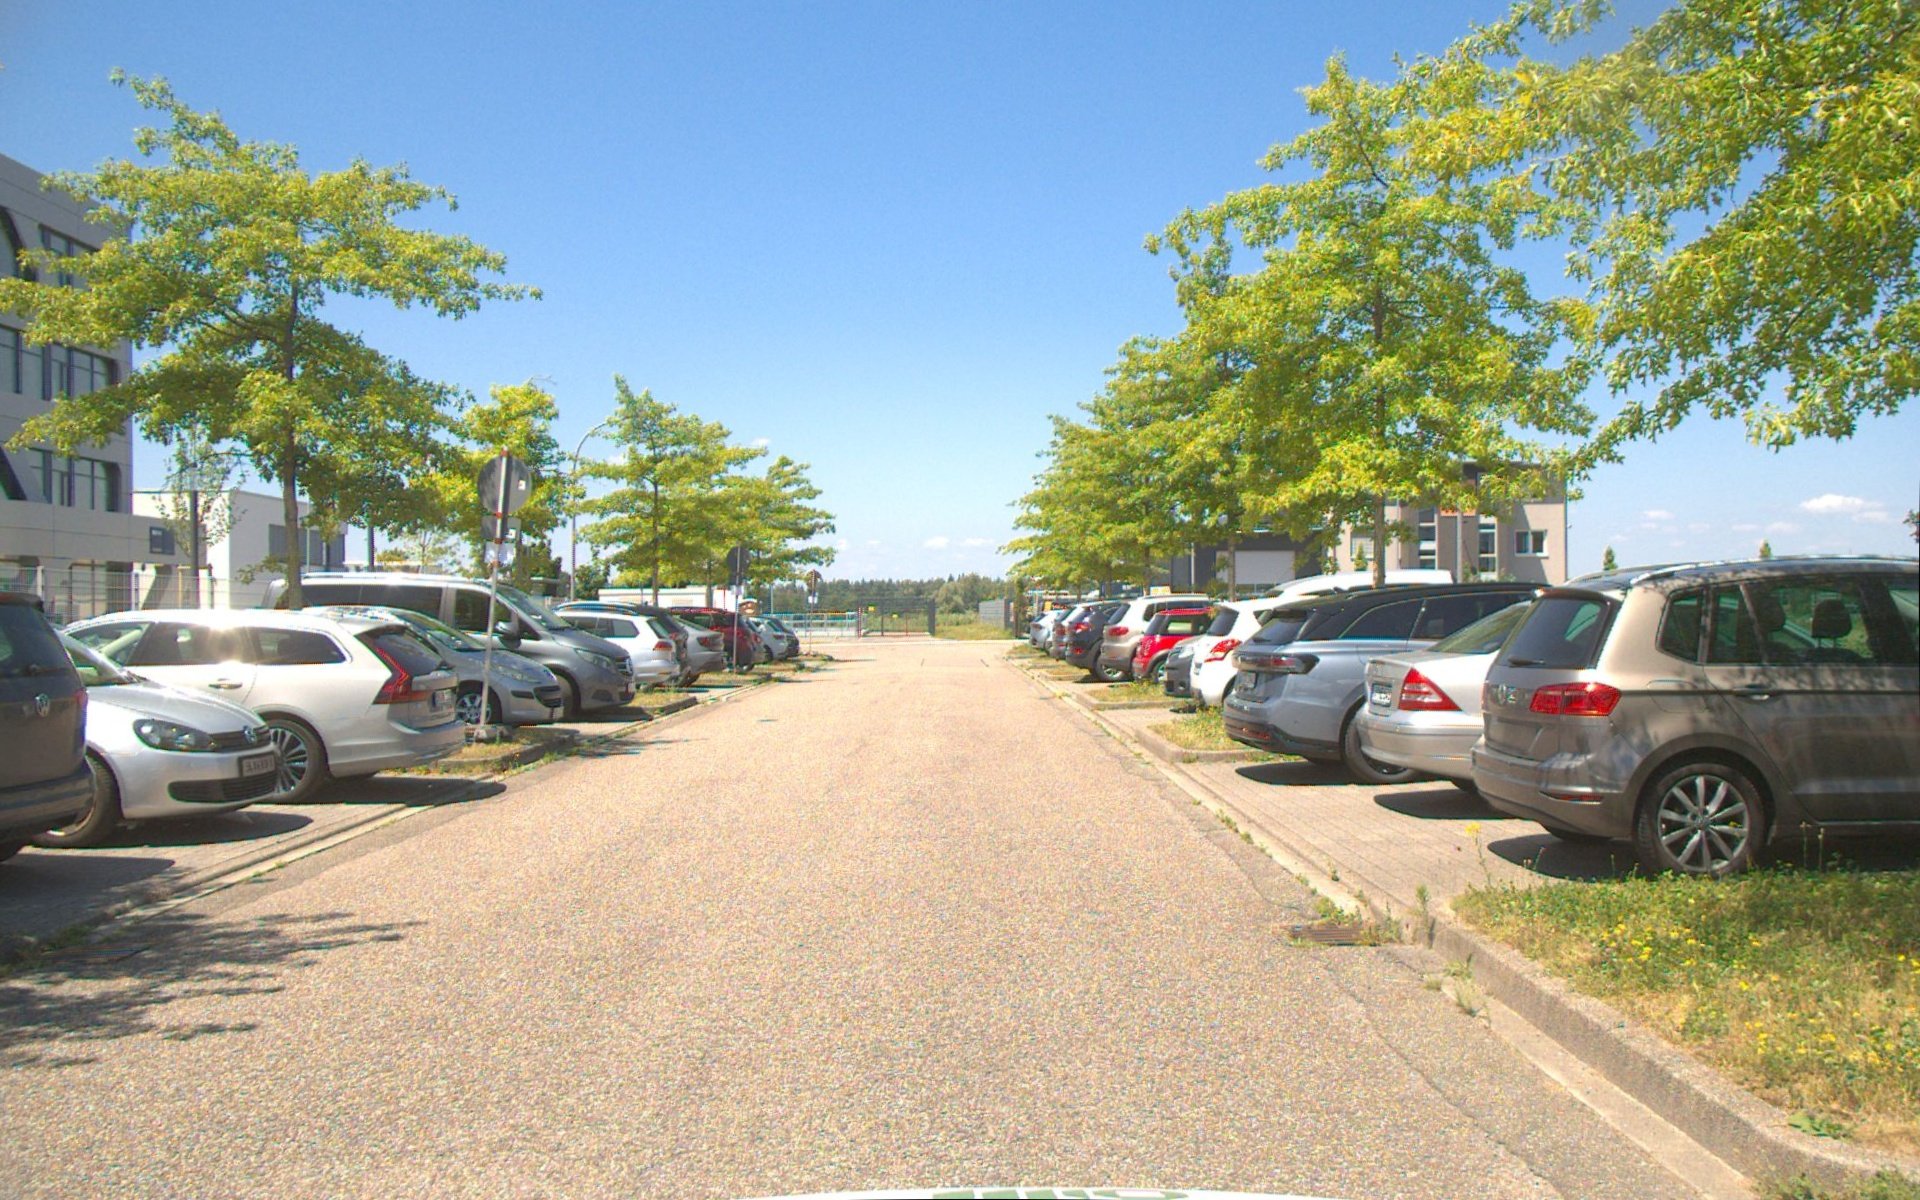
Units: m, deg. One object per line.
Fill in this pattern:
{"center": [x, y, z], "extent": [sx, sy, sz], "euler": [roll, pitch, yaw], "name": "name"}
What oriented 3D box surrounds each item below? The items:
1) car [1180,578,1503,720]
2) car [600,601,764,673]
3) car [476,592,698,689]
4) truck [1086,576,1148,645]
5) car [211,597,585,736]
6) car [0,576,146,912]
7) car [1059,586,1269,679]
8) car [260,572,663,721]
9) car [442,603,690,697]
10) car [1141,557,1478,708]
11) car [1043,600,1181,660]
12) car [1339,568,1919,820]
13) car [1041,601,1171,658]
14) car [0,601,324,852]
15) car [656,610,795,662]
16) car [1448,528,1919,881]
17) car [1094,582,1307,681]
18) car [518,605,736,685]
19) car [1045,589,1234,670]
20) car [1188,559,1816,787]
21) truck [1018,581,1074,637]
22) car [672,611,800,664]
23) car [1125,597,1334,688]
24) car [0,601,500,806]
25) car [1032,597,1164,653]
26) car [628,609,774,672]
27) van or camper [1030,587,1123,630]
{"center": [4.620, 0.589, 20.386], "extent": [3.557, 1.529, 1.676], "euler": [-2, -1, 0], "name": "car"}
{"center": [-6.758, 0.883, 40.415], "extent": [3.661, 1.650, 1.816], "euler": [1, -1, 0], "name": "car"}
{"center": [-7.083, 0.771, 31.747], "extent": [3.910, 1.708, 1.775], "euler": [2, -1, -6], "name": "car"}
{"center": [9.490, 0.659, 100.684], "extent": [2.862, 3.998, 6.933], "euler": [-1, 0, -1], "name": "truck"}
{"center": [-6.720, 0.779, 20.086], "extent": [3.888, 1.510, 1.763], "euler": [2, 0, -1], "name": "car"}
{"center": [-6.772, 0.673, 8.732], "extent": [4.034, 1.663, 1.727], "euler": [1, 0, -2], "name": "car"}
{"center": [4.213, 0.667, 34.606], "extent": [4.089, 1.726, 1.781], "euler": [-2, -1, -2], "name": "car"}
{"center": [-6.816, 0.622, 23.023], "extent": [4.965, 1.925, 1.997], "euler": [1, 0, 0], "name": "car"}
{"center": [-6.835, 0.861, 28.986], "extent": [3.957, 1.486, 1.603], "euler": [2, -1, -4], "name": "car"}
{"center": [4.820, 0.448, 23.262], "extent": [4.313, 1.862, 1.795], "euler": [-2, -1, 0], "name": "car"}
{"center": [4.586, 0.904, 50.226], "extent": [3.985, 1.636, 1.901], "euler": [-2, -1, 0], "name": "car"}
{"center": [4.816, 0.597, 11.457], "extent": [3.964, 1.478, 1.645], "euler": [-2, 0, 0], "name": "car"}
{"center": [4.627, 0.928, 52.854], "extent": [3.906, 1.673, 1.837], "euler": [-2, -1, -2], "name": "car"}
{"center": [-6.668, 0.759, 10.935], "extent": [4.225, 1.499, 1.726], "euler": [1, 0, -3], "name": "car"}
{"center": [-7.027, 1.080, 49.838], "extent": [3.995, 1.449, 1.872], "euler": [1, -1, -5], "name": "car"}
{"center": [4.905, 0.470, 8.964], "extent": [3.964, 1.653, 1.693], "euler": [-2, -1, 0], "name": "car"}
{"center": [4.589, 0.605, 31.905], "extent": [3.796, 1.707, 1.782], "euler": [-2, -1, -1], "name": "car"}
{"center": [-6.810, 0.910, 34.152], "extent": [4.107, 1.506, 1.712], "euler": [2, -1, -1], "name": "car"}
{"center": [4.396, 0.713, 40.918], "extent": [4.360, 1.799, 1.992], "euler": [-2, 0, -3], "name": "car"}
{"center": [4.430, 0.567, 13.958], "extent": [4.624, 1.588, 1.912], "euler": [-2, 0, -5], "name": "car"}
{"center": [4.945, 0.539, 96.440], "extent": [2.671, 3.115, 6.933], "euler": [-1, 0, -1], "name": "truck"}
{"center": [-7.042, 1.181, 52.303], "extent": [3.849, 1.547, 1.783], "euler": [1, -1, -4], "name": "car"}
{"center": [4.783, 0.741, 29.683], "extent": [3.387, 1.442, 1.754], "euler": [-2, -1, -1], "name": "car"}
{"center": [-6.291, 0.785, 13.398], "extent": [4.620, 1.472, 1.856], "euler": [1, 0, -4], "name": "car"}
{"center": [4.578, 0.822, 55.287], "extent": [4.192, 1.673, 1.850], "euler": [-2, -1, -1], "name": "car"}
{"center": [-6.696, 1.041, 43.029], "extent": [3.585, 1.535, 1.729], "euler": [1, -1, -5], "name": "car"}
{"center": [6.219, 0.456, 88.700], "extent": [4.836, 2.201, 2.000], "euler": [-1, 1, -2], "name": "van or camper"}
